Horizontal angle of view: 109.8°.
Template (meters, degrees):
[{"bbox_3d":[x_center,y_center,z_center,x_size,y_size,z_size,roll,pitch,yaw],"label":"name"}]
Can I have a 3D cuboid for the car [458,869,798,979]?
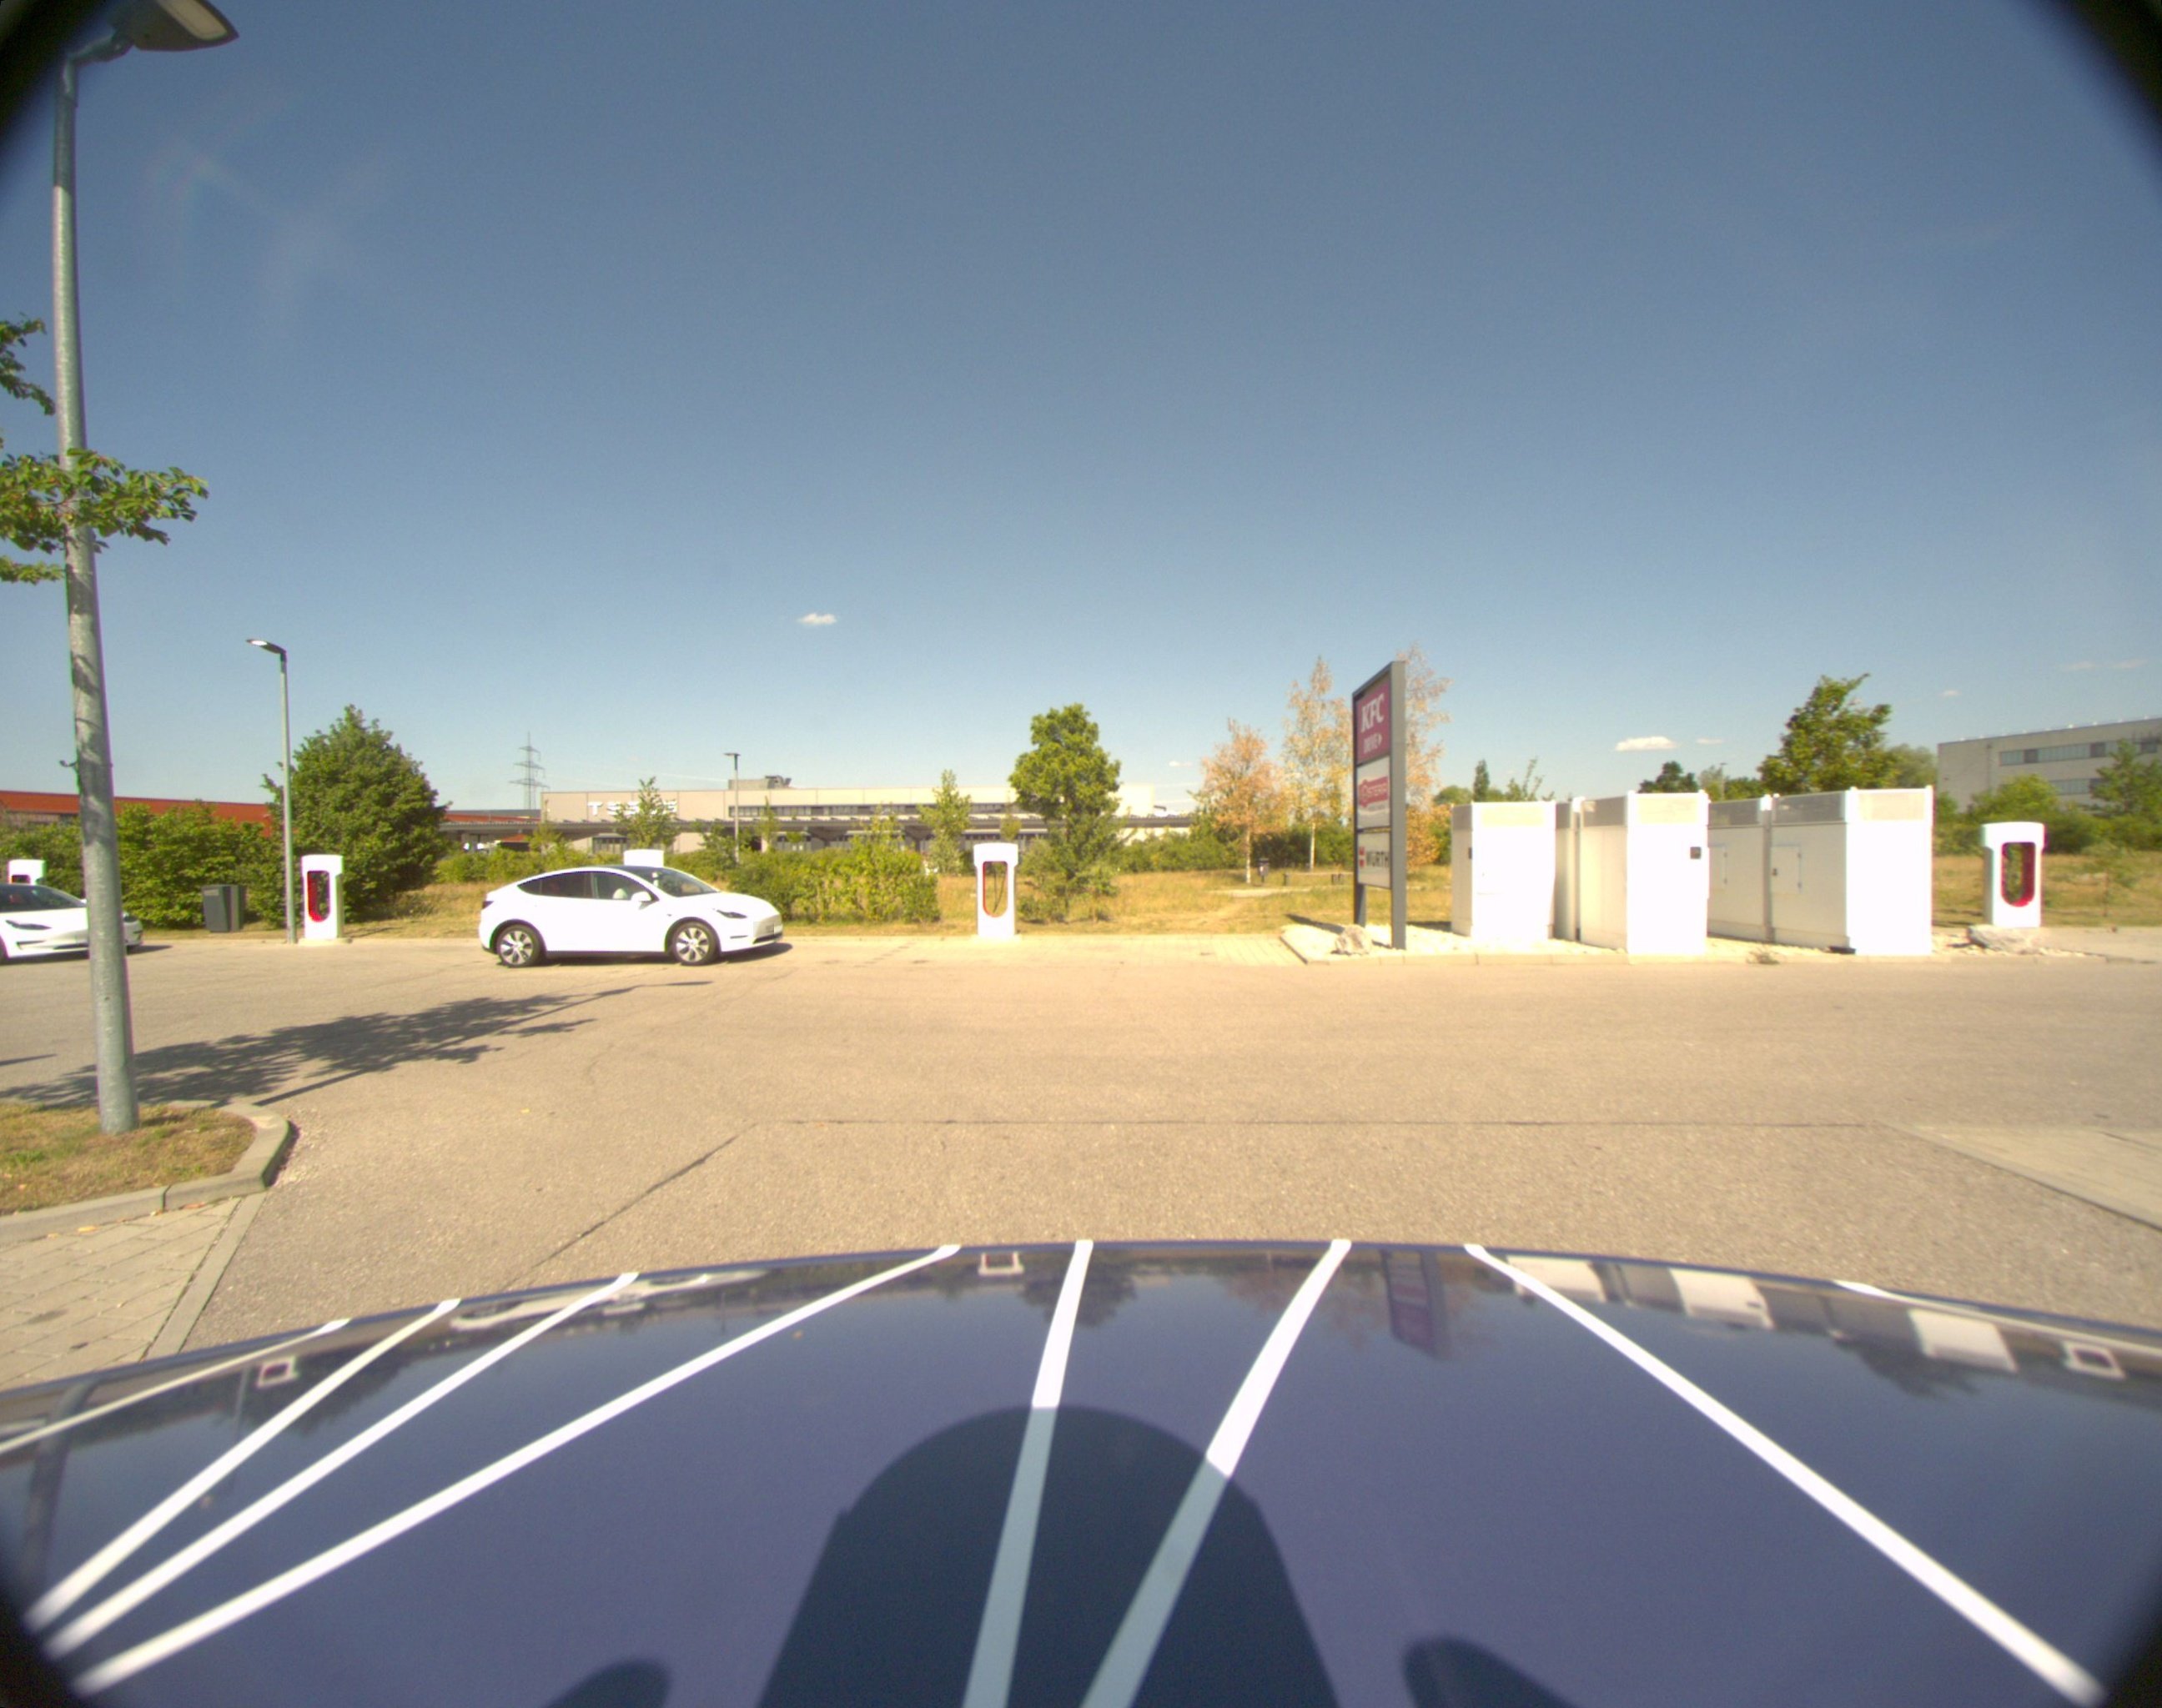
[{"bbox_3d":[-7.401,1.110,12.725,4.572,1.584,1.842,-1,1,2],"label":"car"}]

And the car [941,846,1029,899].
[{"bbox_3d":[-3.412,0.610,27.874,1.916,1.740,4.260,-1,1,11],"label":"car"}]

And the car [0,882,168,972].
[{"bbox_3d":[-20.307,1.332,14.314,4.327,1.470,1.843,-1,1,6],"label":"car"}]
